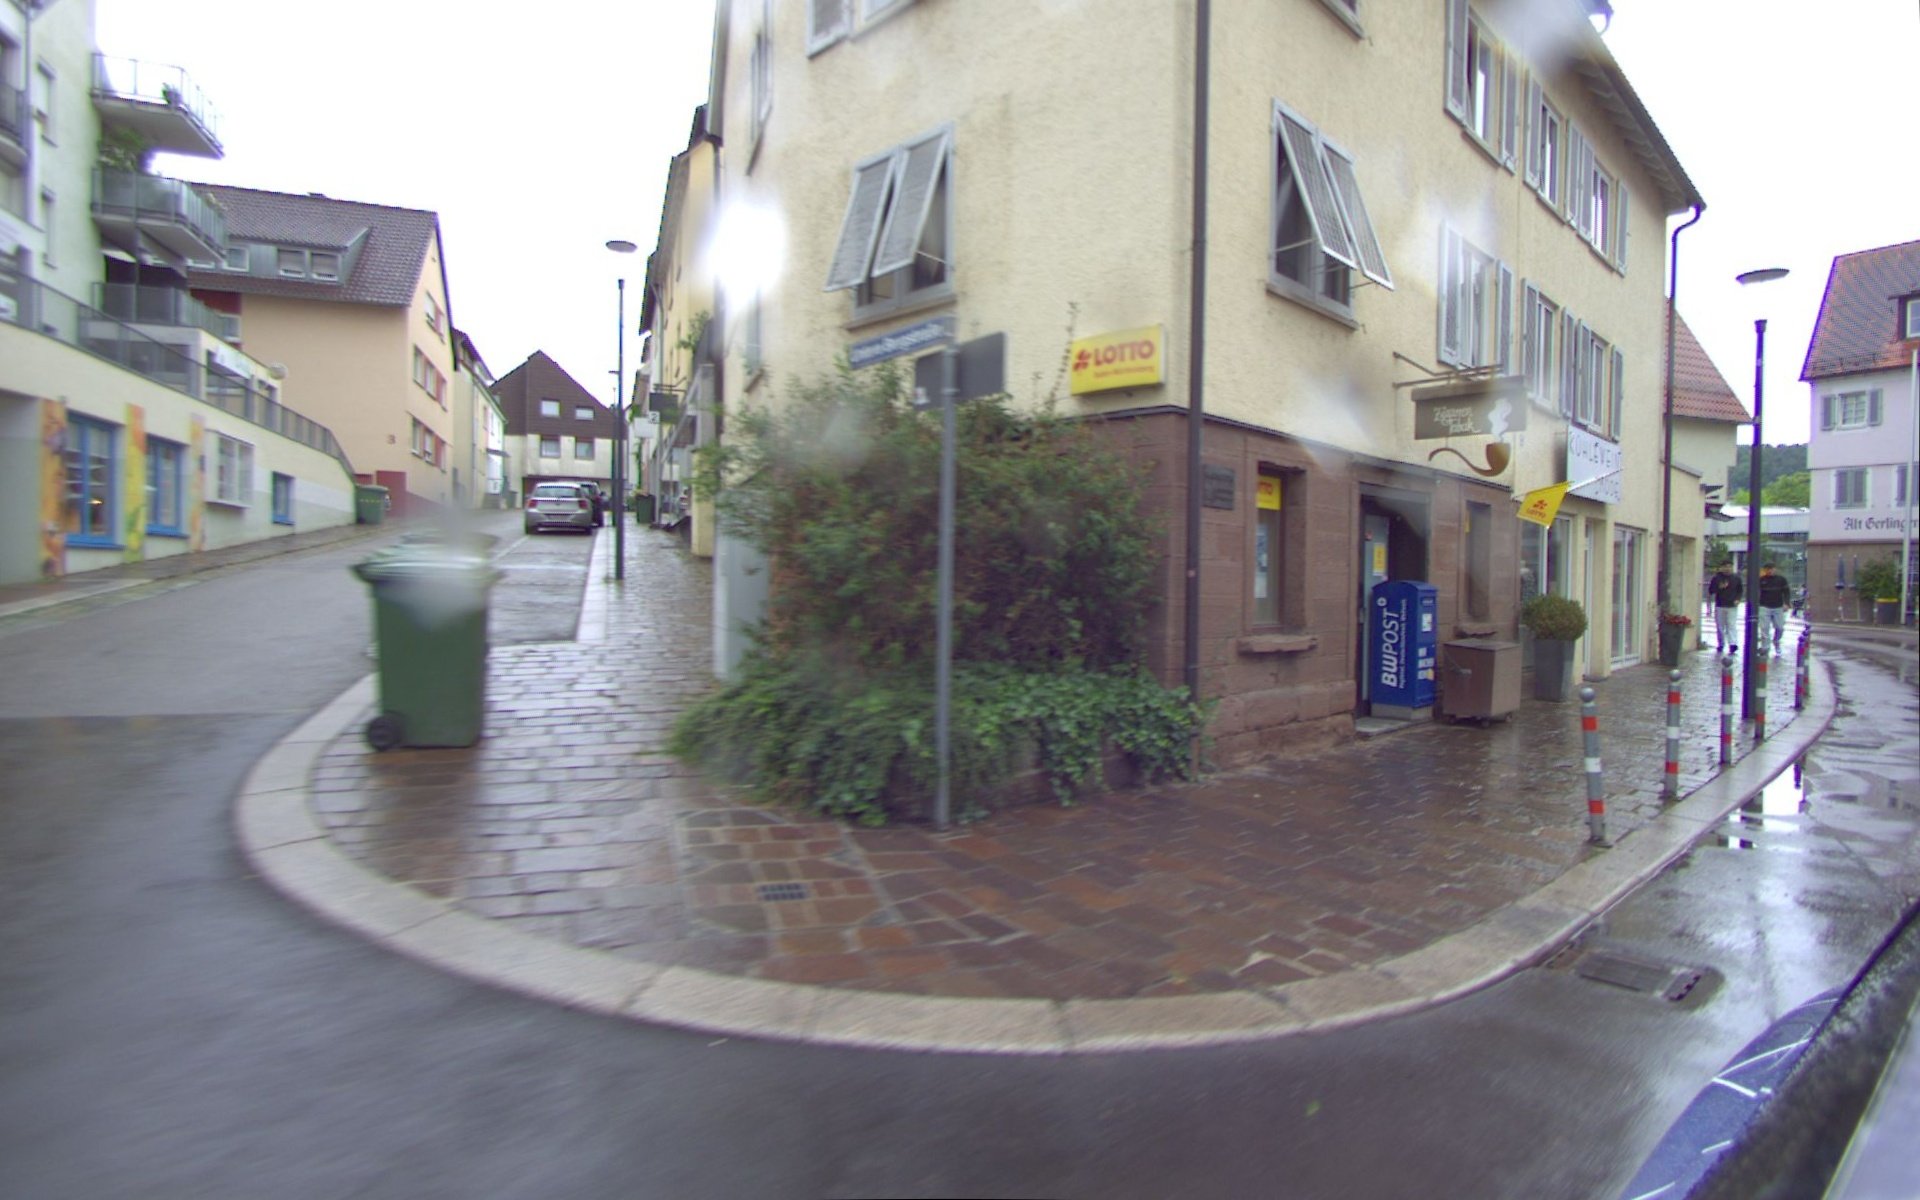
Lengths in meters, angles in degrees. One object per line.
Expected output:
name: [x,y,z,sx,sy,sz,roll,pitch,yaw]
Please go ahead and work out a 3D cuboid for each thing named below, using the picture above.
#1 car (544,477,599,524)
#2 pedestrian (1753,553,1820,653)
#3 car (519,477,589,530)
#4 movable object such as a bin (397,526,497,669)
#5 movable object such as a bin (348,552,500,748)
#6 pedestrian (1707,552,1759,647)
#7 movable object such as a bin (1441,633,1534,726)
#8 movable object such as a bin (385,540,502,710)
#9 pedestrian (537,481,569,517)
car: [-12.979,-3.350,33.926,1.597,1.466,3.479,-1,6,-19]
pedestrian: [16.631,0.043,20.387,0.767,1.927,0.798,4,4,27]
car: [-11.480,-2.753,28.794,1.665,1.387,3.624,-1,6,-19]
movable object such as a bin: [-3.991,-0.039,7.911,0.612,1.069,0.516,-1,4,-19]
movable object such as a bin: [-3.080,0.265,5.860,0.612,1.069,0.516,0,3,-7]
pedestrian: [16.051,-0.030,21.038,0.649,1.925,0.653,3,3,27]
movable object such as a bin: [5.432,0.797,10.414,0.894,0.846,0.547,0,3,-43]
movable object such as a bin: [-3.464,0.136,6.789,0.613,1.069,0.515,-2,4,-35]
pedestrian: [-19.708,-4.912,49.047,1.300,1.727,1.343,-2,6,-19]
